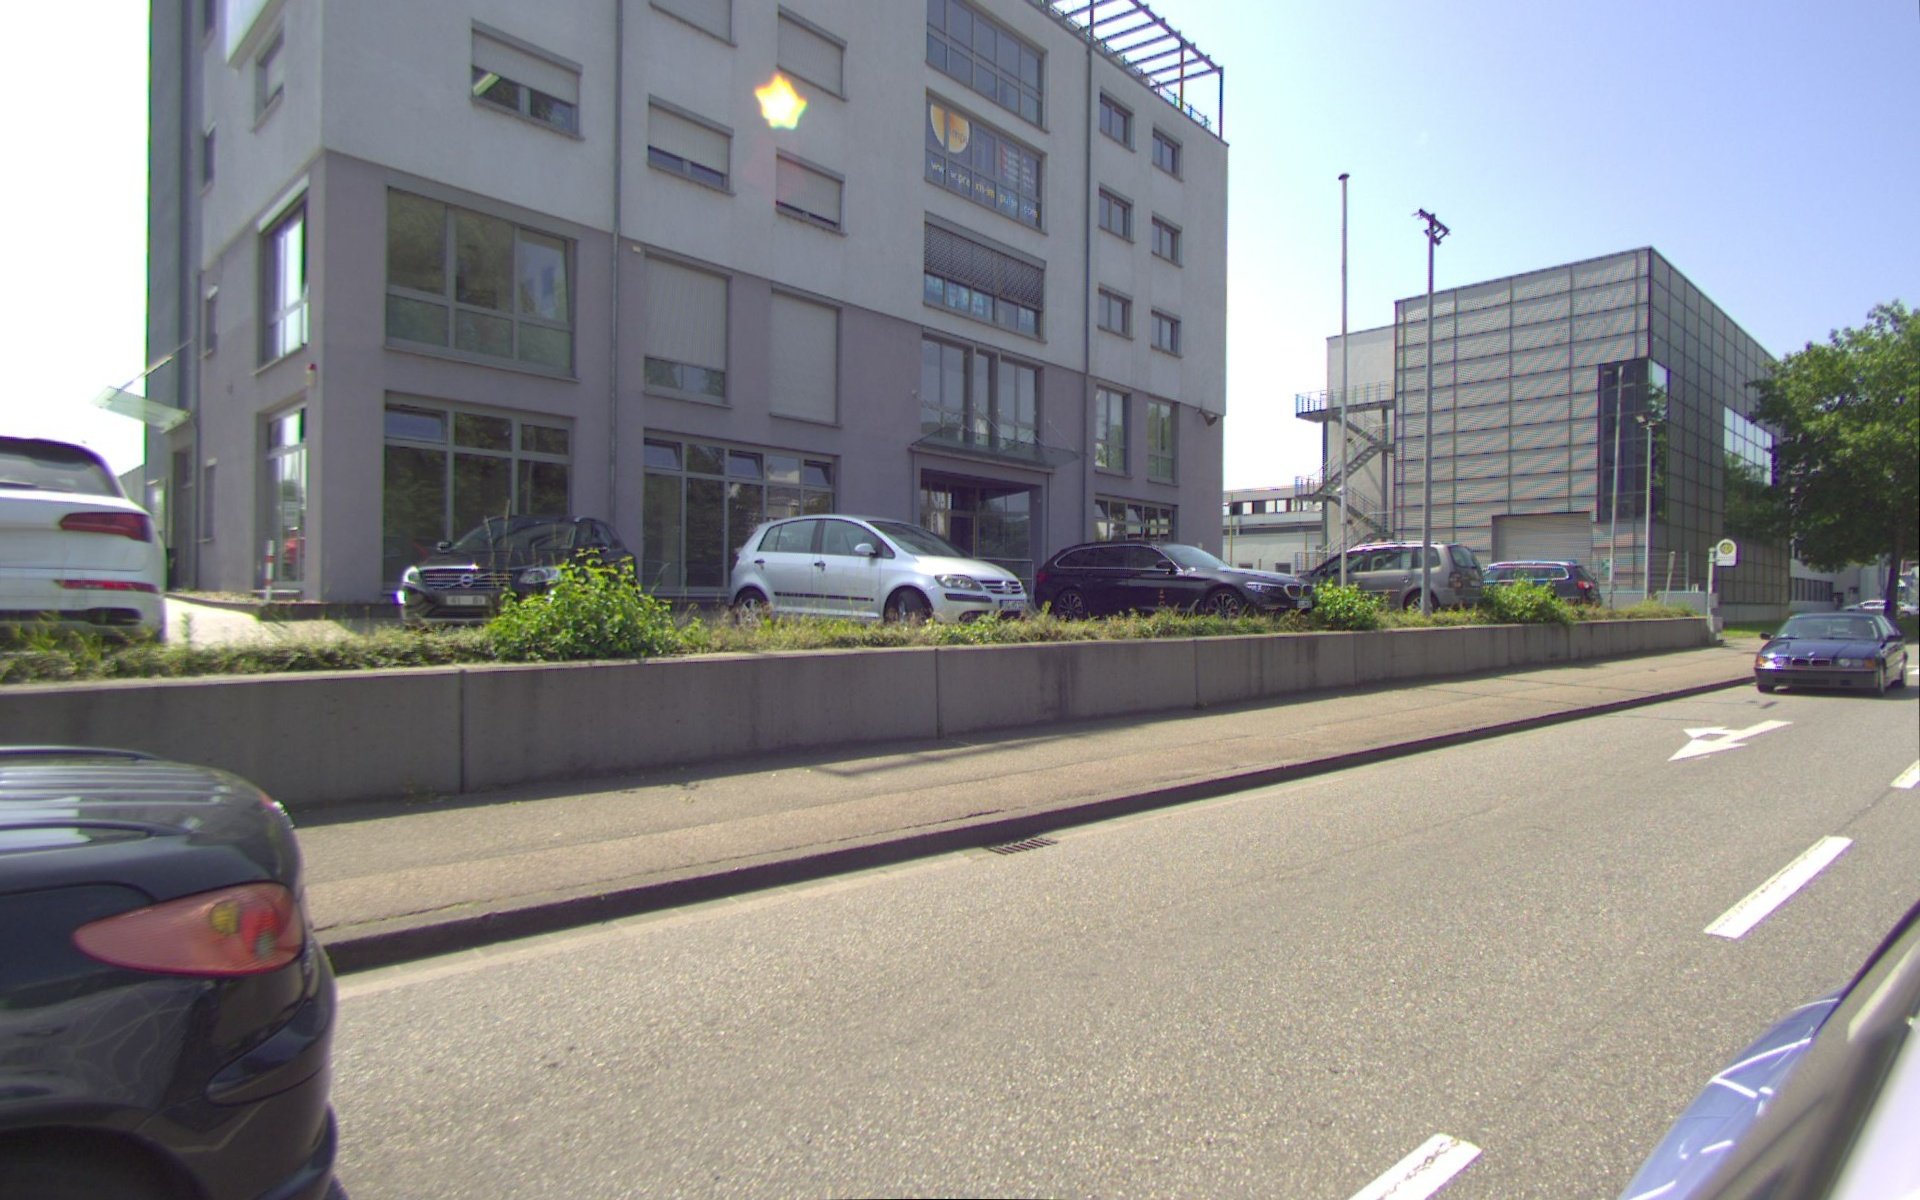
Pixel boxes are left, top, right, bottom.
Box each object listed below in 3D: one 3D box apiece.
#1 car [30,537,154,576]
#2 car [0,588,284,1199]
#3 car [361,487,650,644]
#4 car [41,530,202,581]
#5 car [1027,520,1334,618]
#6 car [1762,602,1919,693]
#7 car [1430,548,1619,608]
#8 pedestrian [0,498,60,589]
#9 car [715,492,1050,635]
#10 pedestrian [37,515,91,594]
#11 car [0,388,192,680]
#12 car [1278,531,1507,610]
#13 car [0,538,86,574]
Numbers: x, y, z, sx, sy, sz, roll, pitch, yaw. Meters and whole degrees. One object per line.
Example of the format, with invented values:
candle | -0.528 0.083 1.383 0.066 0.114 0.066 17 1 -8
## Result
car | -38.137 -1.898 44.614 3.923 1.616 2.001 0 1 -34
car | -3.036 0.700 1.291 3.439 1.373 1.640 -1 3 -42
car | -5.492 -0.363 12.955 1.877 1.628 4.526 -1 0 -3
car | -27.689 -1.433 33.603 3.923 1.571 2.001 0 1 -34
car | 3.474 -0.424 16.683 1.771 1.398 4.749 -1 0 -45
car | 15.445 0.739 17.566 3.887 1.340 1.710 -1 0 -41
car | 15.227 -0.550 27.450 1.728 1.505 4.132 -1 0 -42
pedestrian | -19.675 -1.179 21.312 0.774 1.861 0.857 0 1 -15
car | -1.035 -0.376 12.540 3.975 1.505 1.736 -1 0 36
pedestrian | -18.493 -0.931 20.902 0.629 1.594 0.774 0 1 -25
car | -7.015 -0.344 7.152 2.062 1.630 4.467 -1 0 -43
car | 9.045 -0.570 21.423 1.728 1.505 4.132 -1 0 -42
car | -44.375 -2.108 48.641 3.950 1.616 1.987 1 1 20
